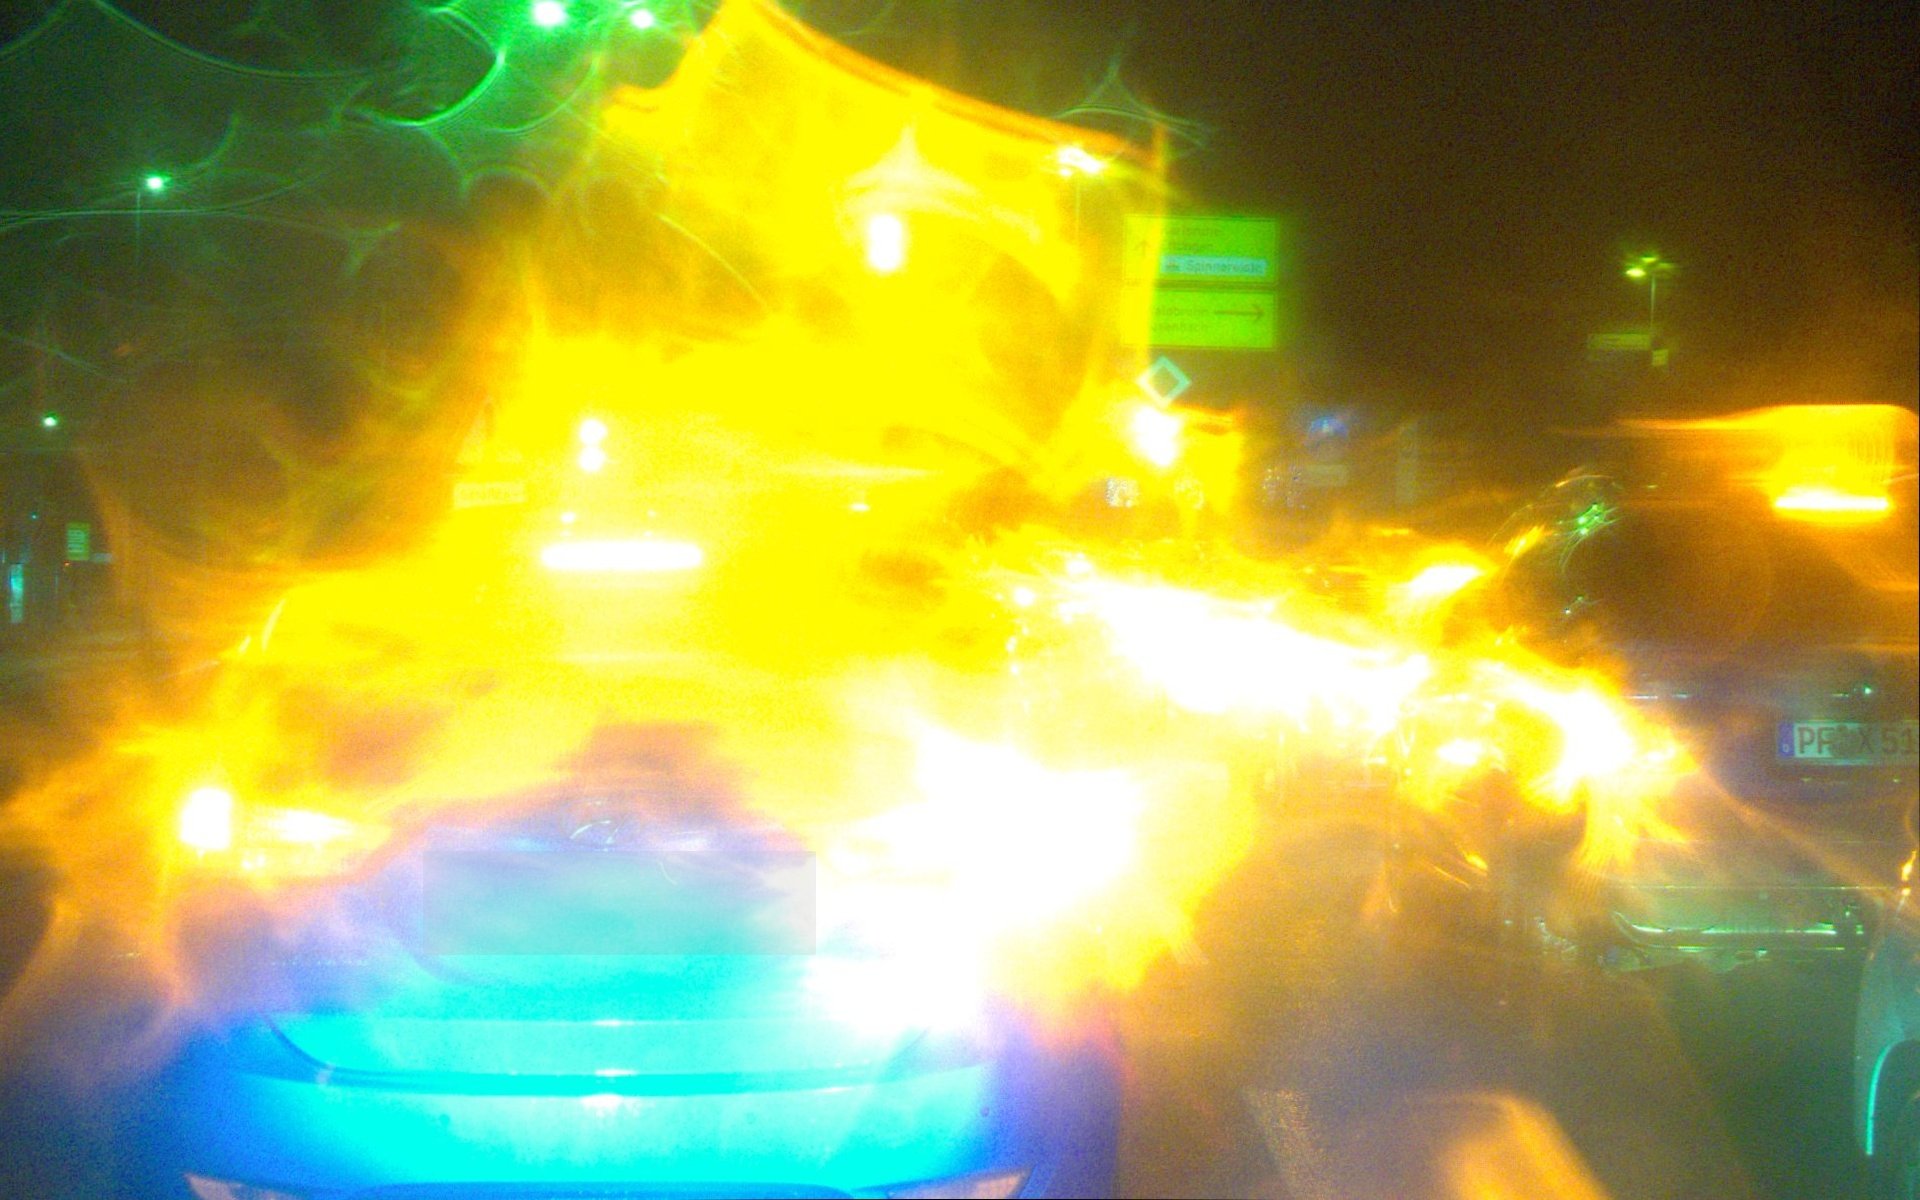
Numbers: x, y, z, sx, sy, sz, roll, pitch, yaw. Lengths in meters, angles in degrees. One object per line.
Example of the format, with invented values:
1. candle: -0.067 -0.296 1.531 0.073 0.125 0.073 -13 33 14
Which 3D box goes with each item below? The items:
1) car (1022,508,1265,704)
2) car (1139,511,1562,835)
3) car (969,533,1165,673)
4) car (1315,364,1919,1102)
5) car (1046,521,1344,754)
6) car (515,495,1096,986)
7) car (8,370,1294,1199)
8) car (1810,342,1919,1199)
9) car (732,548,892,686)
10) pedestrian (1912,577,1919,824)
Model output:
1. car: 1.721 0.034 33.519 1.993 1.767 4.000 1 1 -2
2. car: 2.203 0.374 20.480 1.993 1.712 4.000 1 1 -1
3. car: 1.204 0.017 40.434 1.857 1.539 3.931 1 1 -5
4. car: 2.427 0.358 11.594 1.968 2.040 4.000 1 1 -1
5. car: 1.761 0.254 26.977 1.993 1.664 4.000 1 1 -1
6. car: -0.560 0.468 13.950 1.993 1.678 4.000 1 1 -1
7. car: -0.575 0.486 7.675 2.014 1.711 4.452 1 1 -2
8. car: 2.489 0.540 4.019 1.851 1.858 4.341 1 1 -1
9. car: -2.102 0.204 47.779 1.993 1.818 4.001 1 1 -5
10. pedestrian: 6.923 0.696 23.510 0.622 1.696 0.541 1 0 -3
